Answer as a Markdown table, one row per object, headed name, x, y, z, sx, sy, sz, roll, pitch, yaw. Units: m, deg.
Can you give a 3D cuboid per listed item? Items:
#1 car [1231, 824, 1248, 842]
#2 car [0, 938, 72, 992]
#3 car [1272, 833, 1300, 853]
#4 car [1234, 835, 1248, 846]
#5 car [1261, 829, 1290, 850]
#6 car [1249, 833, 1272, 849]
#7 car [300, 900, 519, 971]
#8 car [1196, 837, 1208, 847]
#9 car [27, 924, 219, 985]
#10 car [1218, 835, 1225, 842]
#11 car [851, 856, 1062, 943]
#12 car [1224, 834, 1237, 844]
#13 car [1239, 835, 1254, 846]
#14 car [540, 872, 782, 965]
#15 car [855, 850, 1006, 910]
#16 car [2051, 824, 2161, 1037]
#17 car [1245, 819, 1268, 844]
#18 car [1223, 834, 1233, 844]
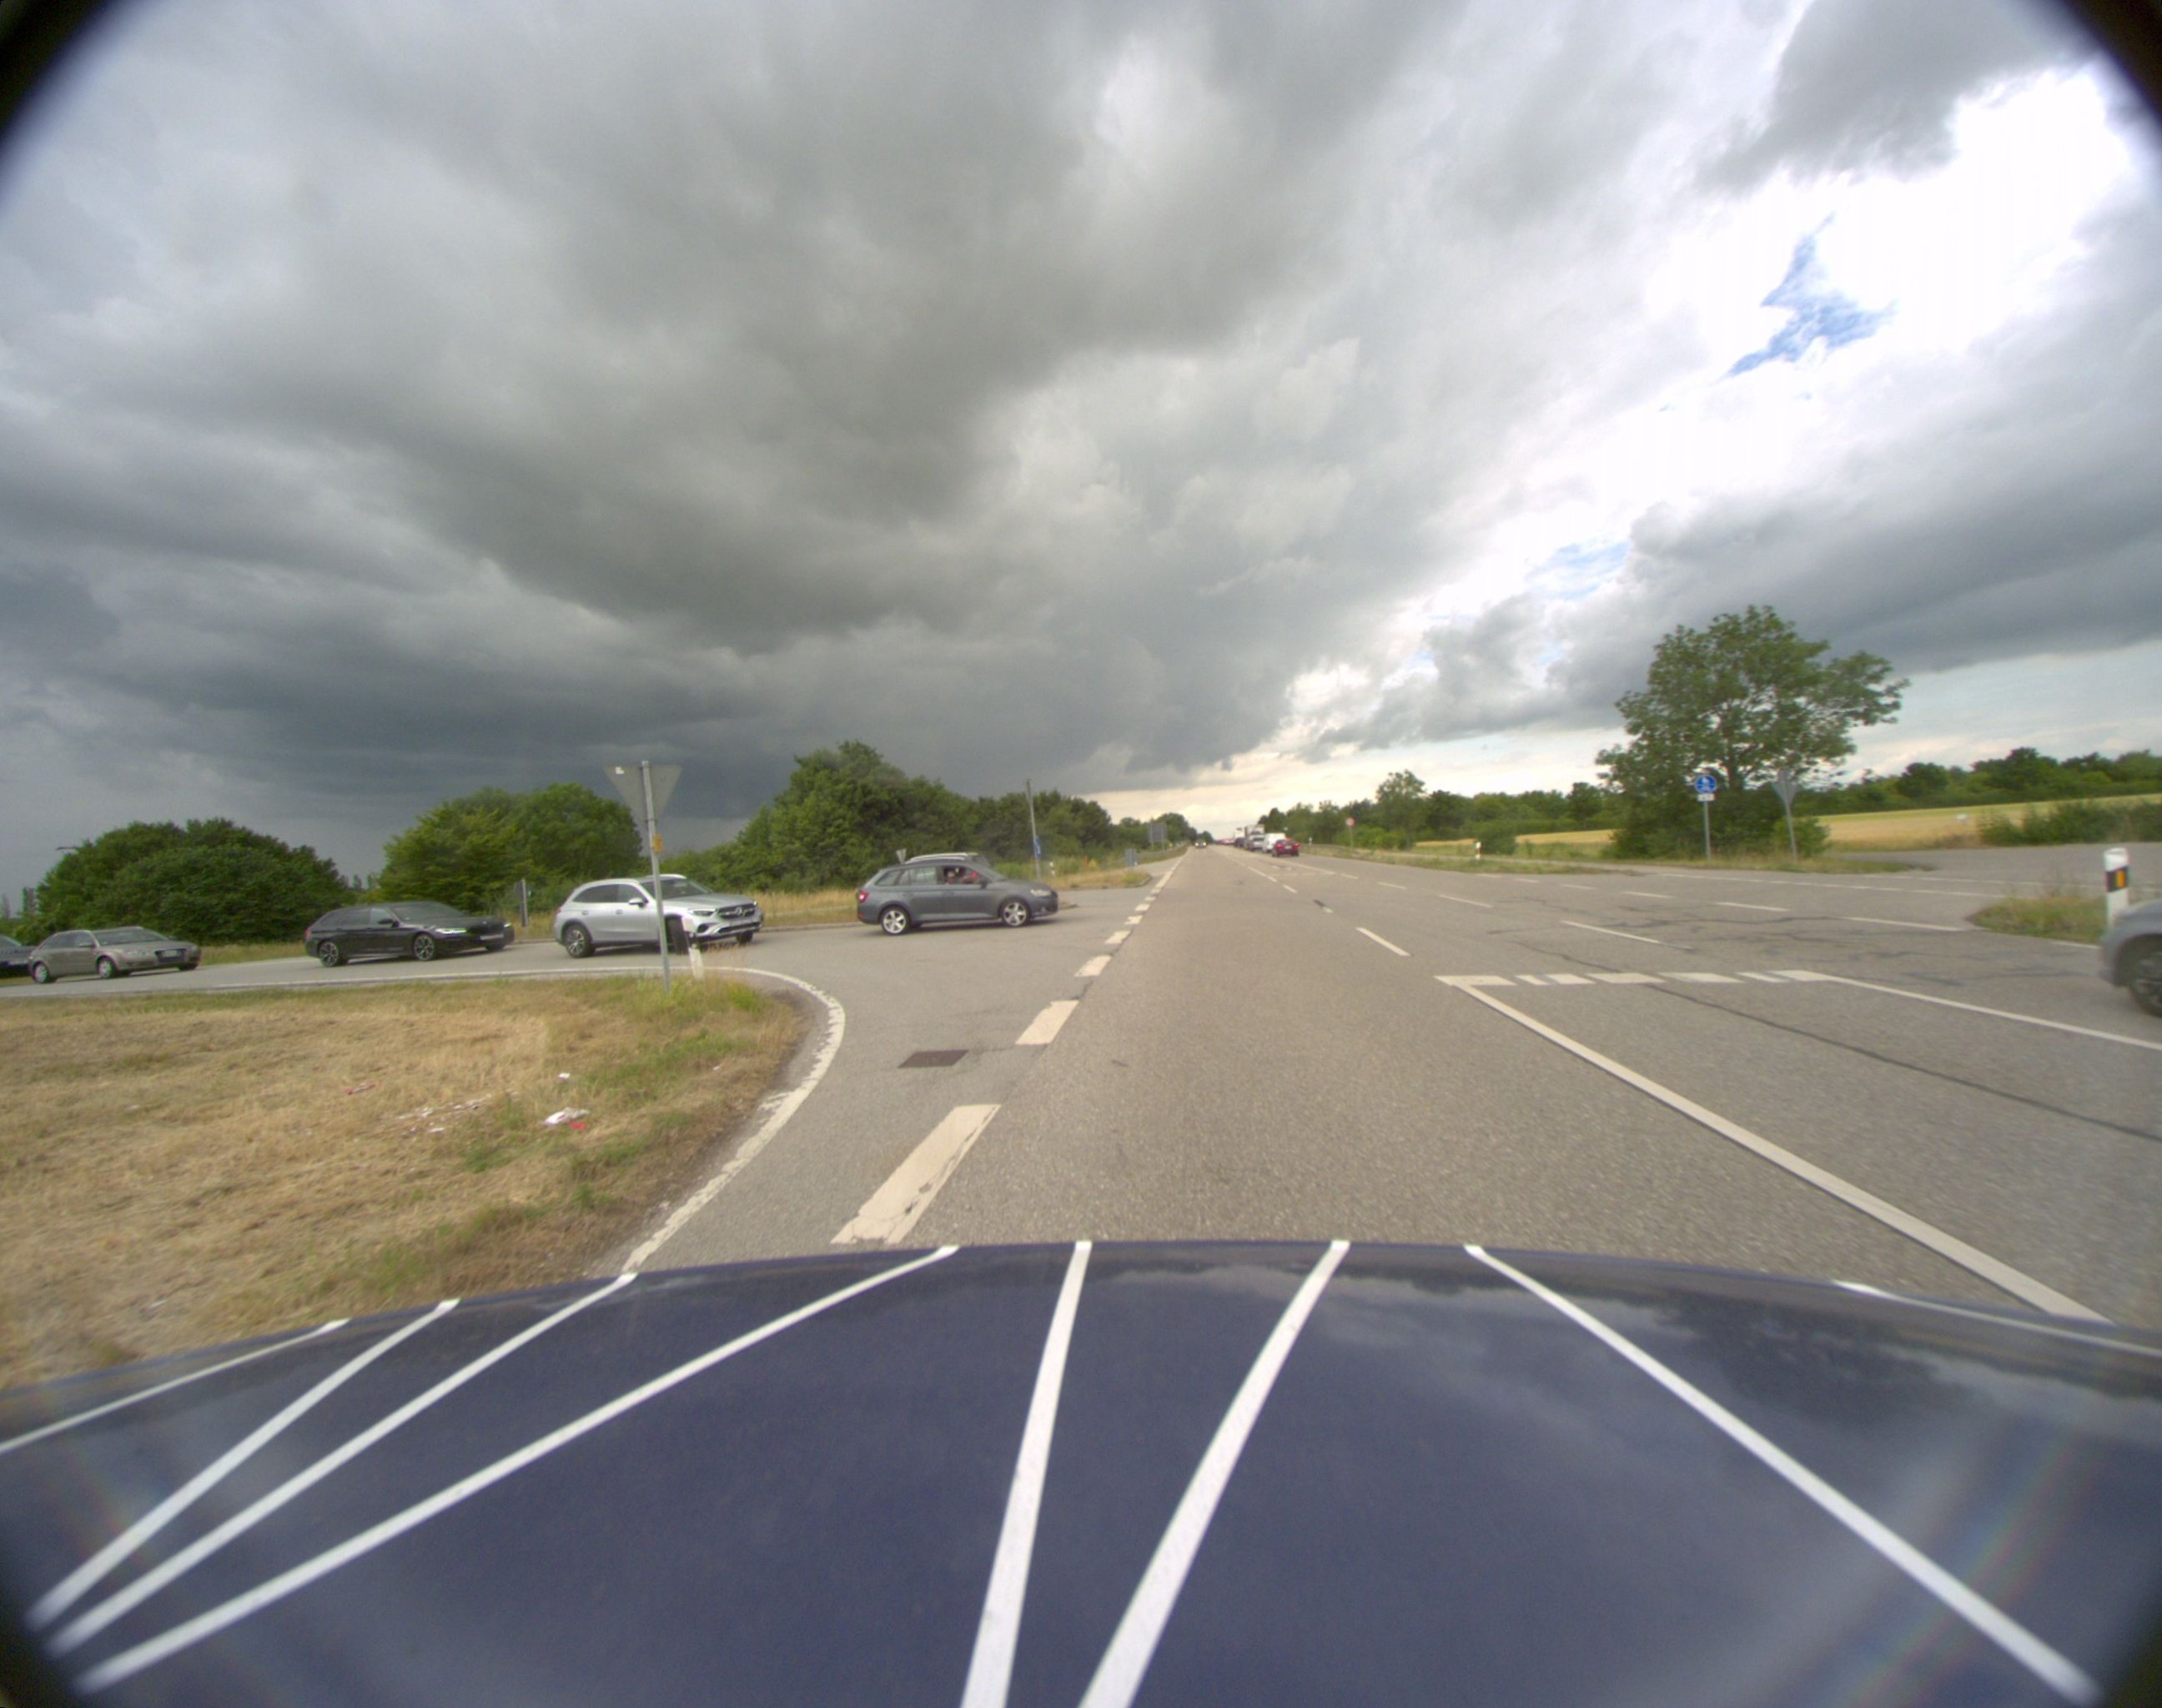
| name | x | y | z | sx | sy | sz | roll | pitch | yaw |
| --- | --- | --- | --- | --- | --- | --- | --- | --- | --- |
| car | 28.800 | -3.772 | 138.292 | 2.338 | 3.011 | 6.561 | -4 | 0 | 8 |
| car | -33.135 | 3.408 | 22.827 | 4.207 | 1.346 | 1.723 | -4 | 3 | 13 |
| car | 16.215 | -0.866 | 60.328 | 1.675 | 1.393 | 4.092 | -2 | 0 | 9 |
| car | 26.450 | -2.247 | 125.746 | 1.855 | 1.739 | 4.002 | -4 | 0 | 8 |
| car | 19.203 | -1.447 | 75.111 | 2.110 | 1.875 | 5.393 | -3 | 0 | 8 |
| car | 20.154 | -1.431 | 85.334 | 1.997 | 1.614 | 4.263 | -1 | 0 | 7 |
| car | -16.843 | 2.046 | 19.101 | 4.687 | 1.346 | 1.723 | -4 | 3 | 15 |
| car | 20.854 | -2.057 | 131.107 | 1.997 | 1.474 | 4.002 | -4 | 1 | 9 |
| car | -27.524 | 2.883 | 21.869 | 4.207 | 1.345 | 1.724 | -4 | 0 | 13 |
| car | 40.188 | -4.363 | 217.650 | 1.855 | 1.739 | 4.002 | -4 | 0 | 9 |
| car | -2.550 | 0.926 | 16.260 | 4.113 | 1.439 | 1.718 | -4 | 2 | 2 |
| car | 30.947 | -3.053 | 157.565 | 2.338 | 1.910 | 4.878 | -4 | 0 | 9 |
| car | 25.273 | -2.121 | 116.306 | 1.846 | 1.516 | 4.002 | -4 | 0 | 9 |
| car | -8.925 | 1.363 | 16.212 | 4.385 | 1.578 | 1.999 | -4 | 3 | 20 |
| car | -4.707 | 0.809 | 24.063 | 4.285 | 1.649 | 1.754 | -2 | 1 | 7 |
| car | 7.959 | 0.513 | 3.701 | 1.733 | 1.423 | 3.936 | -2 | 1 | 8 |
| car | 22.461 | -2.784 | 97.311 | 2.338 | 3.011 | 6.562 | -1 | 0 | 9 |
| car | 34.363 | -3.491 | 177.782 | 1.795 | 2.002 | 4.002 | -4 | 0 | 8 |
